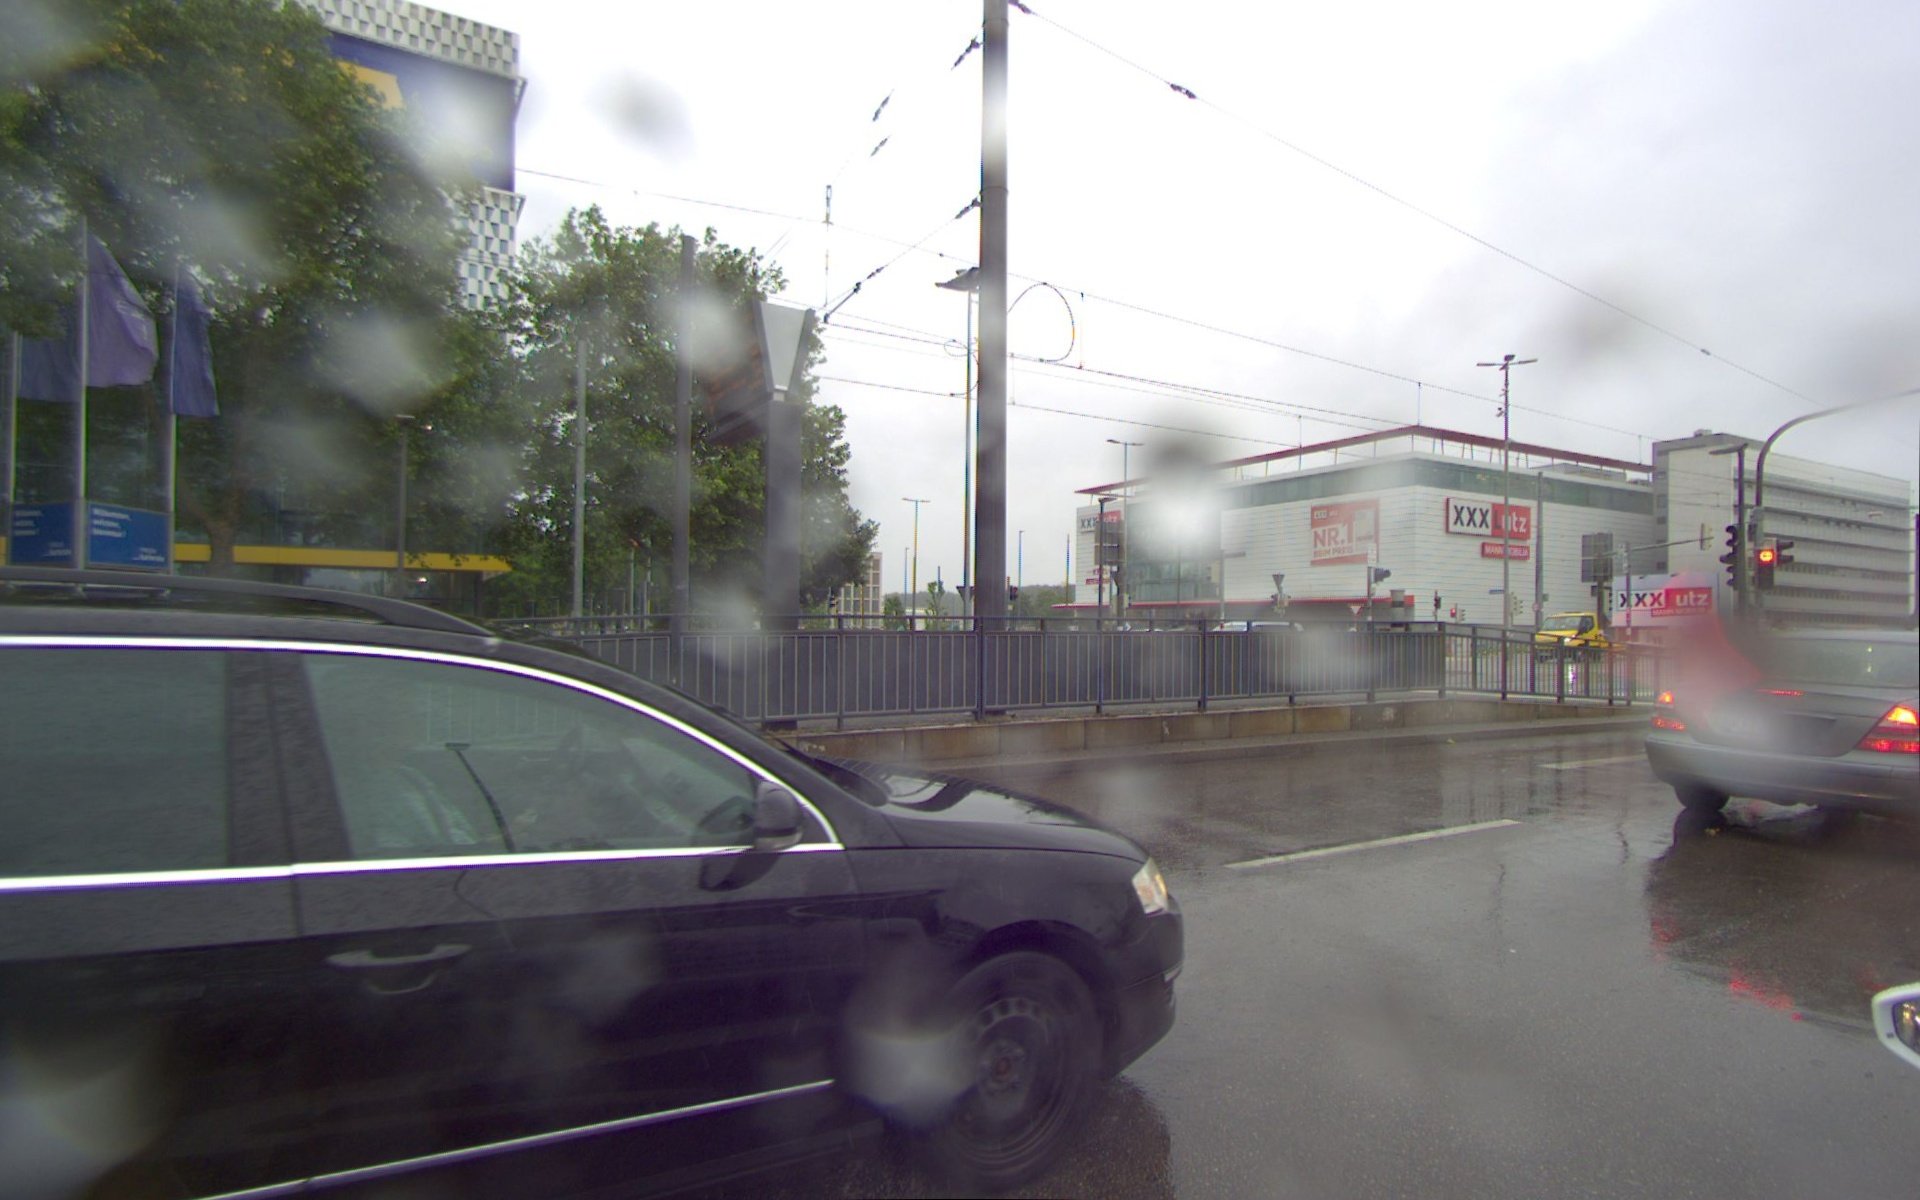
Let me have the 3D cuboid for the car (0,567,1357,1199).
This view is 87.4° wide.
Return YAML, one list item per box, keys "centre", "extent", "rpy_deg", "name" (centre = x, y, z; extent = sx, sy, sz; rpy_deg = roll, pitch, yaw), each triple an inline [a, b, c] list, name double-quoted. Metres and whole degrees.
- centre: [-1.282, 0.724, 2.546]
  extent: [4.541, 1.521, 1.764]
  rpy_deg: [2, 0, -29]
  name: "car"

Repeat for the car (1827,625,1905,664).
- centre: [47.269, 2.338, 52.411]
  extent: [3.952, 1.821, 1.838]
  rpy_deg: [4, -2, -29]
  name: "car"

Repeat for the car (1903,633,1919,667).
- centre: [54.725, 2.829, 55.931]
  extent: [3.947, 1.851, 1.923]
  rpy_deg: [2, 0, -26]
  name: "car"

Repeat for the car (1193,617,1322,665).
- centre: [9.347, 1.282, 31.511]
  extent: [3.780, 1.353, 1.582]
  rpy_deg: [2, 0, -26]
  name: "car"

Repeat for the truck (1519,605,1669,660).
- centre: [29.097, 1.489, 45.994]
  extent: [7.536, 2.309, 2.342]
  rpy_deg: [2, 0, -28]
  name: "truck"

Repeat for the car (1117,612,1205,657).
- centre: [9.923, 1.675, 49.893]
  extent: [1.976, 2.040, 4.295]
  rpy_deg: [2, 0, -29]
  name: "car"

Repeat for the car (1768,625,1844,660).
- centre: [46.492, 2.333, 55.202]
  extent: [3.488, 1.682, 1.726]
  rpy_deg: [5, -1, -23]
  name: "car"

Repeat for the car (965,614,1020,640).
- centre: [2.306, 1.861, 70.196]
  extent: [3.723, 1.645, 2.001]
  rpy_deg: [2, 0, 2]
  name: "car"

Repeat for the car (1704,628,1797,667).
- centre: [36.960, 2.225, 46.970]
  extent: [3.947, 1.722, 1.886]
  rpy_deg: [2, 0, -26]
  name: "car"

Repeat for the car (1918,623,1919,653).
- centre: [66.530, 2.613, 67.471]
  extent: [3.949, 2.040, 1.986]
  rpy_deg: [2, 0, -28]
  name: "car"

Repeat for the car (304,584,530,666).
- centre: [-10.846, 0.515, 20.257]
  extent: [3.830, 1.512, 1.690]
  rpy_deg: [2, 0, -30]
  name: "car"

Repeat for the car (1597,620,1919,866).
- centre: [7.191, 0.953, 7.913]
  extent: [4.591, 1.417, 1.754]
  rpy_deg: [2, -1, -30]
  name: "car"

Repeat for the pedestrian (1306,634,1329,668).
- centre: [16.728, 2.385, 46.965]
  extent: [0.863, 1.557, 0.560]
  rpy_deg: [2, 0, -31]
  name: "pedestrian"

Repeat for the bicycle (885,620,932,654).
- centre: [-1.680, 1.213, 32.717]
  extent: [1.493, 1.075, 0.408]
  rpy_deg: [2, 0, -33]
  name: "bicycle"

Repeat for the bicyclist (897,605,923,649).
- centre: [-1.642, 0.884, 32.773]
  extent: [0.643, 1.418, 0.529]
  rpy_deg: [2, 0, -33]
  name: "bicyclist"
